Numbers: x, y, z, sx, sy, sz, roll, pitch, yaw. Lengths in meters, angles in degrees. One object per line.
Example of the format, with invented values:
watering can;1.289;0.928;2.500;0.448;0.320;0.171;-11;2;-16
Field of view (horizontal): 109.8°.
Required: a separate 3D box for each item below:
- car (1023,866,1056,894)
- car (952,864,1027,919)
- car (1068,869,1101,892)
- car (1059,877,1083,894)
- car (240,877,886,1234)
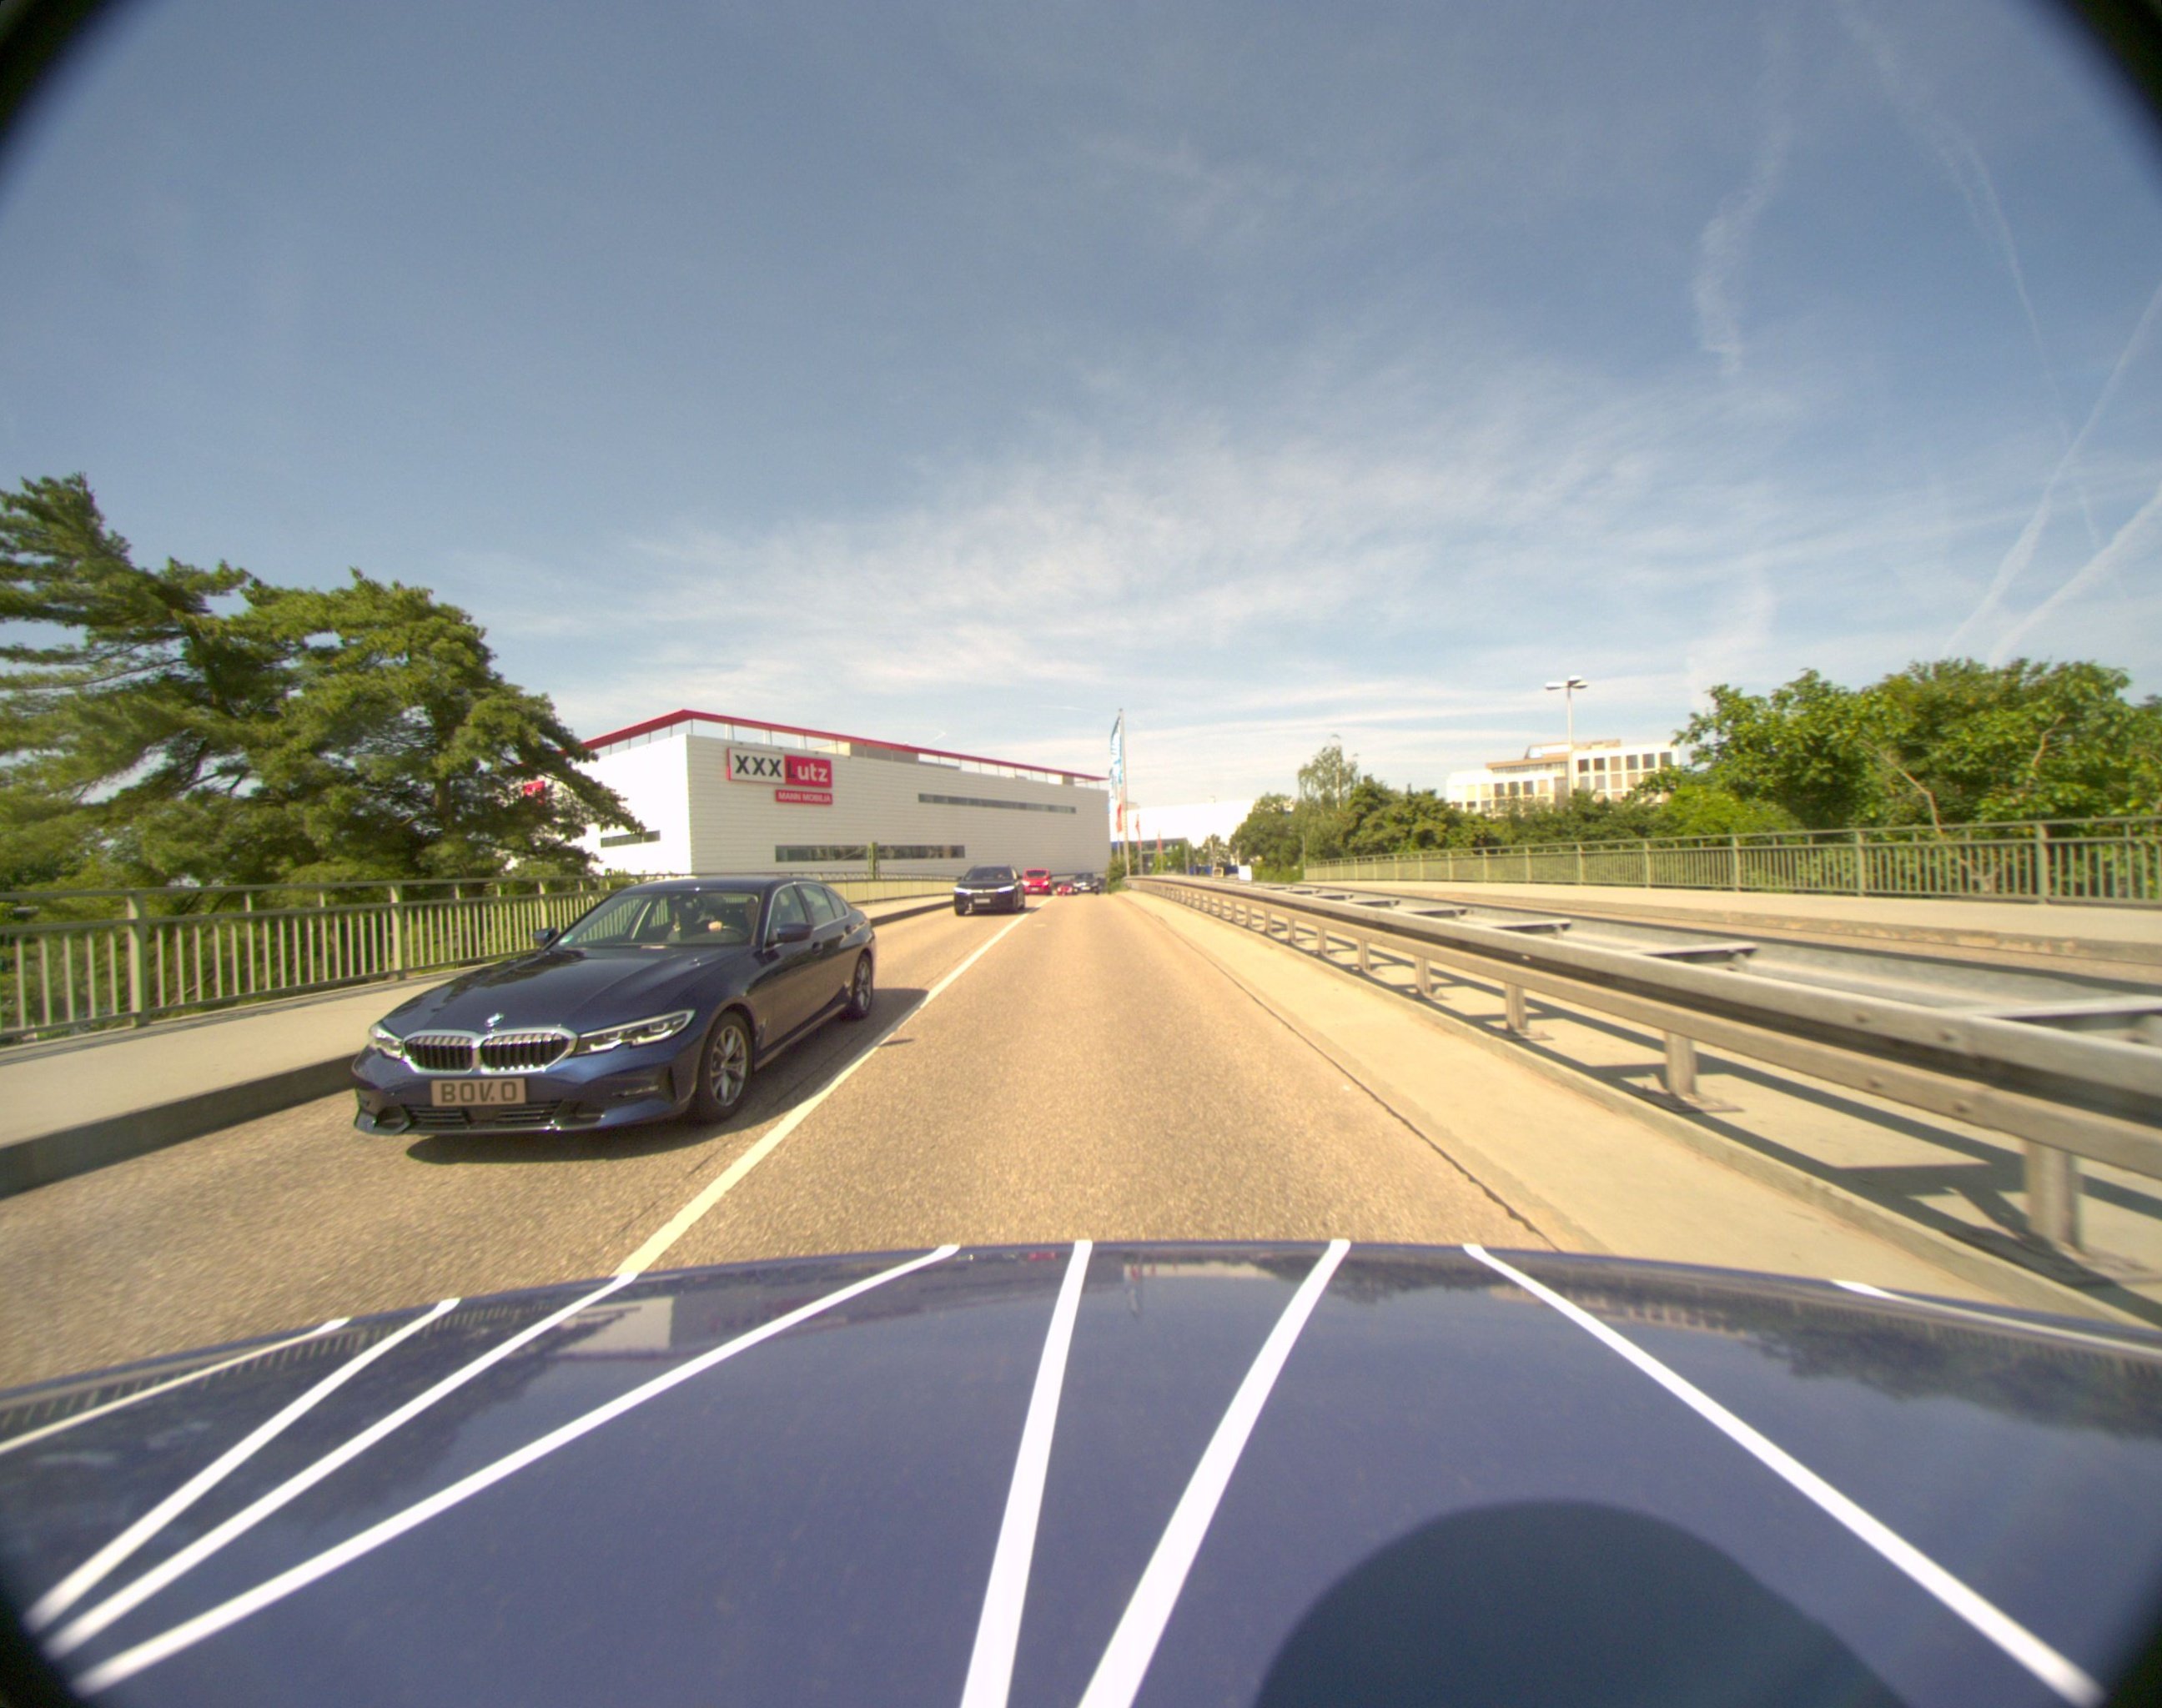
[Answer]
car;-2.957;1.895;54.988;1.988;1.895;4.146;0;-2;1
car;-2.796;1.113;24.036;1.861;1.520;4.144;-3;-1;-1
car;0.239;1.654;47.747;1.849;1.409;4.002;0;-2;4
car;-0.961;3.192;76.196;1.776;1.648;4.148;-1;-2;8
car;-2.986;1.005;5.795;1.792;1.474;4.520;-2;0;0
